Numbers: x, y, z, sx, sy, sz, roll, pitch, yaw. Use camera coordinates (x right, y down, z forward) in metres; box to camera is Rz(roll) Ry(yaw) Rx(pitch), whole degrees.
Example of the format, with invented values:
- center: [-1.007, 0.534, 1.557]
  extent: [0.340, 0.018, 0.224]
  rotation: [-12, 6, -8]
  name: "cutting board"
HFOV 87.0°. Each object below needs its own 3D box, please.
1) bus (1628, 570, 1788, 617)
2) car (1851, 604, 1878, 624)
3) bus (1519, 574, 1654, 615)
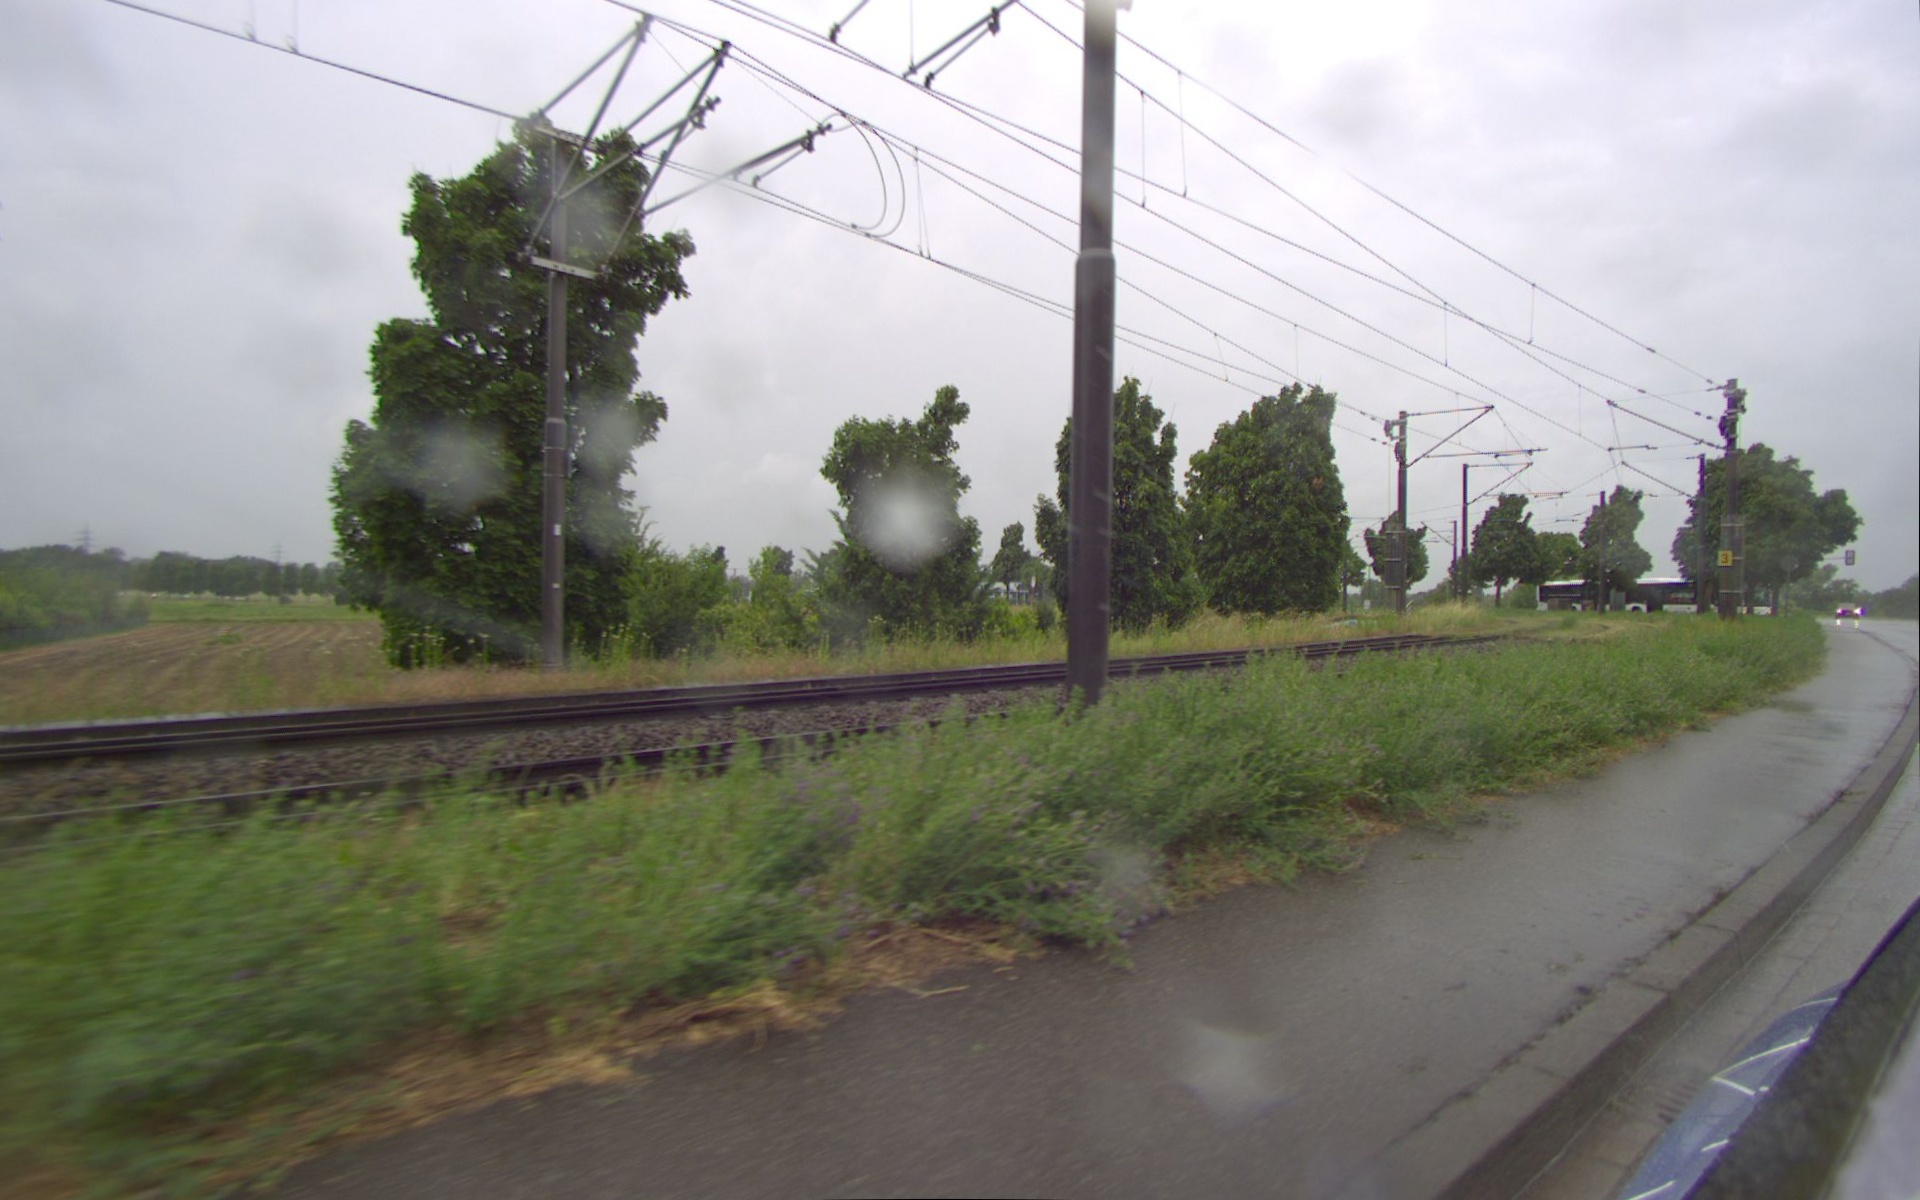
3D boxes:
- center: [53.442, -0.429, 72.798]
  extent: [2.623, 3.116, 10.012]
  rotation: [0, 0, -12]
  name: "bus"
- center: [96.193, 1.494, 107.612]
  extent: [3.935, 2.039, 1.916]
  rotation: [0, 0, -45]
  name: "car"
- center: [50.866, -0.460, 82.621]
  extent: [2.622, 3.116, 10.015]
  rotation: [0, 0, -17]
  name: "bus"
